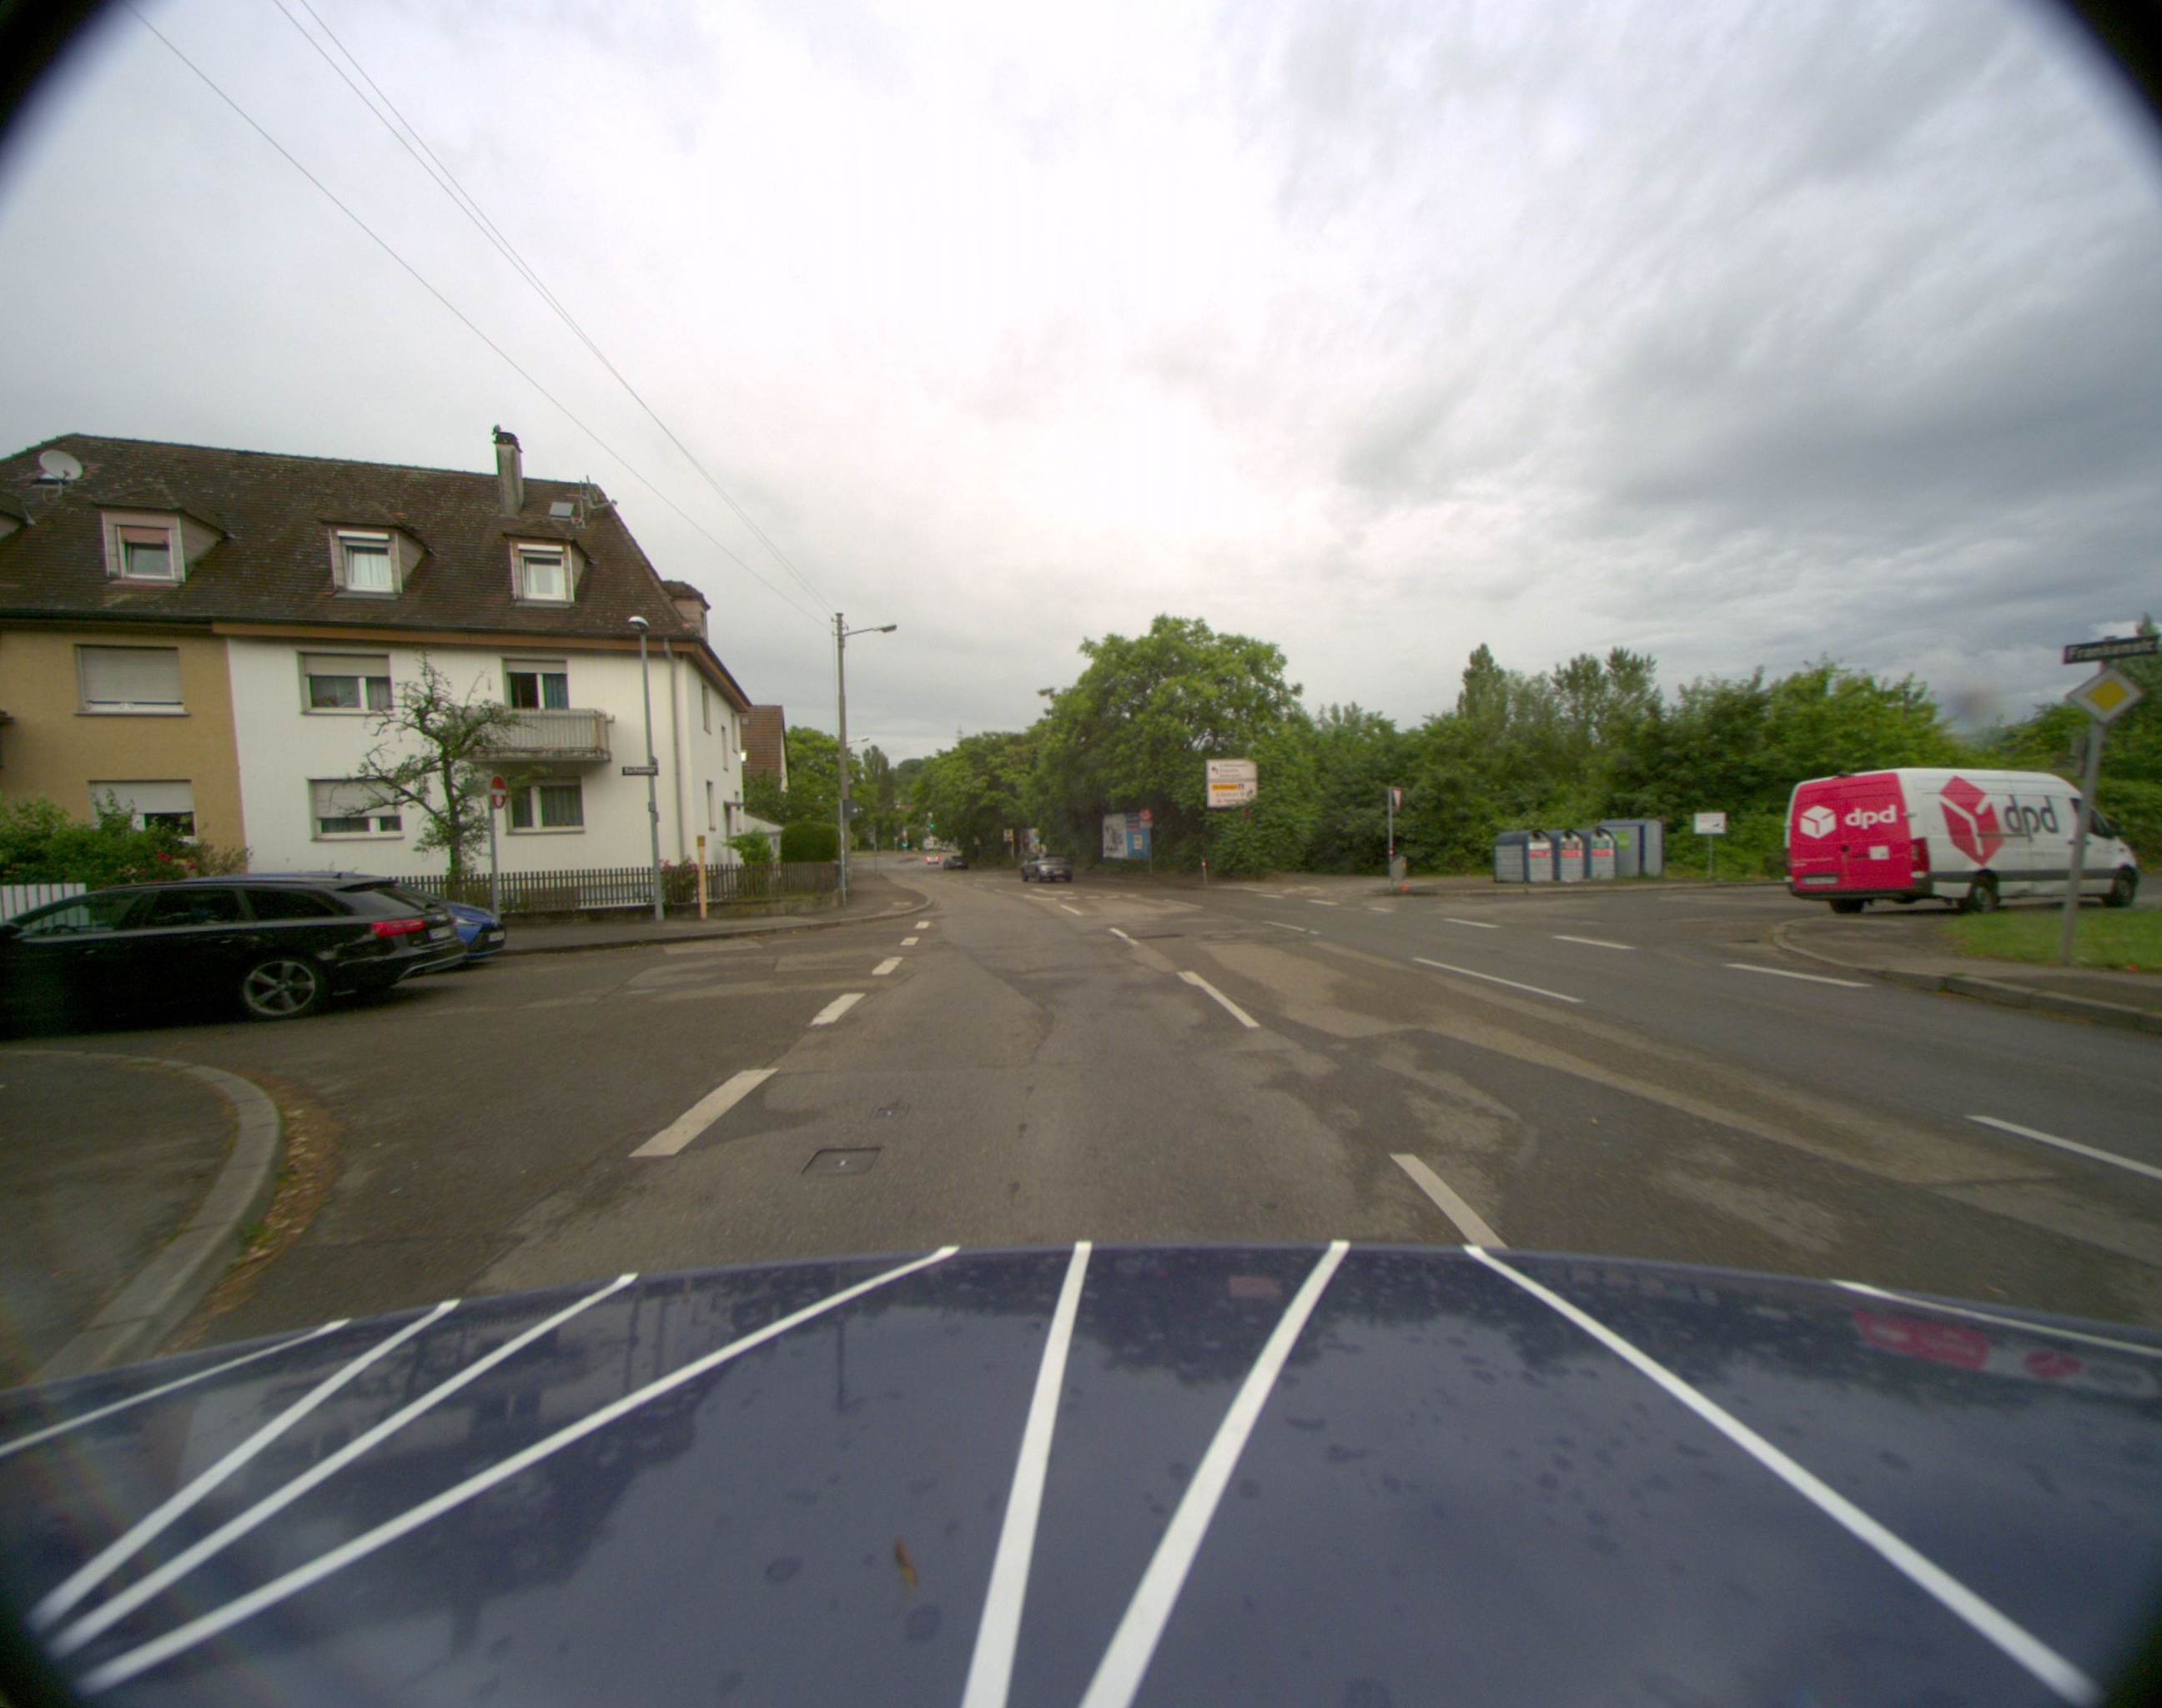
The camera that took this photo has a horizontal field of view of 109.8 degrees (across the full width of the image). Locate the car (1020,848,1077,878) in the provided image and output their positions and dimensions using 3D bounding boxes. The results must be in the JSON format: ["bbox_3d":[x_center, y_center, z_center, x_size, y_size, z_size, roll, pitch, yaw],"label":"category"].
[{"bbox_3d":[-1.755,0.455,39.622,1.902,1.453,3.993,-2,1,-19],"label":"car"}]

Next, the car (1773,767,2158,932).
[{"bbox_3d":[16.843,-0.196,14.483,6.828,2.640,2.259,-2,1,-17],"label":"car"}]

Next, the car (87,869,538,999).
[{"bbox_3d":[-10.600,1.028,10.911,4.129,1.472,1.883,-1,0,-15],"label":"car"}]

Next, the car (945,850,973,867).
[{"bbox_3d":[-12.128,0.447,75.161,2.002,1.435,4.765,0,2,-19],"label":"car"}]

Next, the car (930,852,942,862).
[{"bbox_3d":[-21.241,0.418,111.670,1.674,1.460,3.776,-2,1,-10],"label":"car"}]

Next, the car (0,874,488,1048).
[{"bbox_3d":[-9.646,1.037,8.129,4.823,1.472,1.882,-1,0,-22],"label":"car"}]
